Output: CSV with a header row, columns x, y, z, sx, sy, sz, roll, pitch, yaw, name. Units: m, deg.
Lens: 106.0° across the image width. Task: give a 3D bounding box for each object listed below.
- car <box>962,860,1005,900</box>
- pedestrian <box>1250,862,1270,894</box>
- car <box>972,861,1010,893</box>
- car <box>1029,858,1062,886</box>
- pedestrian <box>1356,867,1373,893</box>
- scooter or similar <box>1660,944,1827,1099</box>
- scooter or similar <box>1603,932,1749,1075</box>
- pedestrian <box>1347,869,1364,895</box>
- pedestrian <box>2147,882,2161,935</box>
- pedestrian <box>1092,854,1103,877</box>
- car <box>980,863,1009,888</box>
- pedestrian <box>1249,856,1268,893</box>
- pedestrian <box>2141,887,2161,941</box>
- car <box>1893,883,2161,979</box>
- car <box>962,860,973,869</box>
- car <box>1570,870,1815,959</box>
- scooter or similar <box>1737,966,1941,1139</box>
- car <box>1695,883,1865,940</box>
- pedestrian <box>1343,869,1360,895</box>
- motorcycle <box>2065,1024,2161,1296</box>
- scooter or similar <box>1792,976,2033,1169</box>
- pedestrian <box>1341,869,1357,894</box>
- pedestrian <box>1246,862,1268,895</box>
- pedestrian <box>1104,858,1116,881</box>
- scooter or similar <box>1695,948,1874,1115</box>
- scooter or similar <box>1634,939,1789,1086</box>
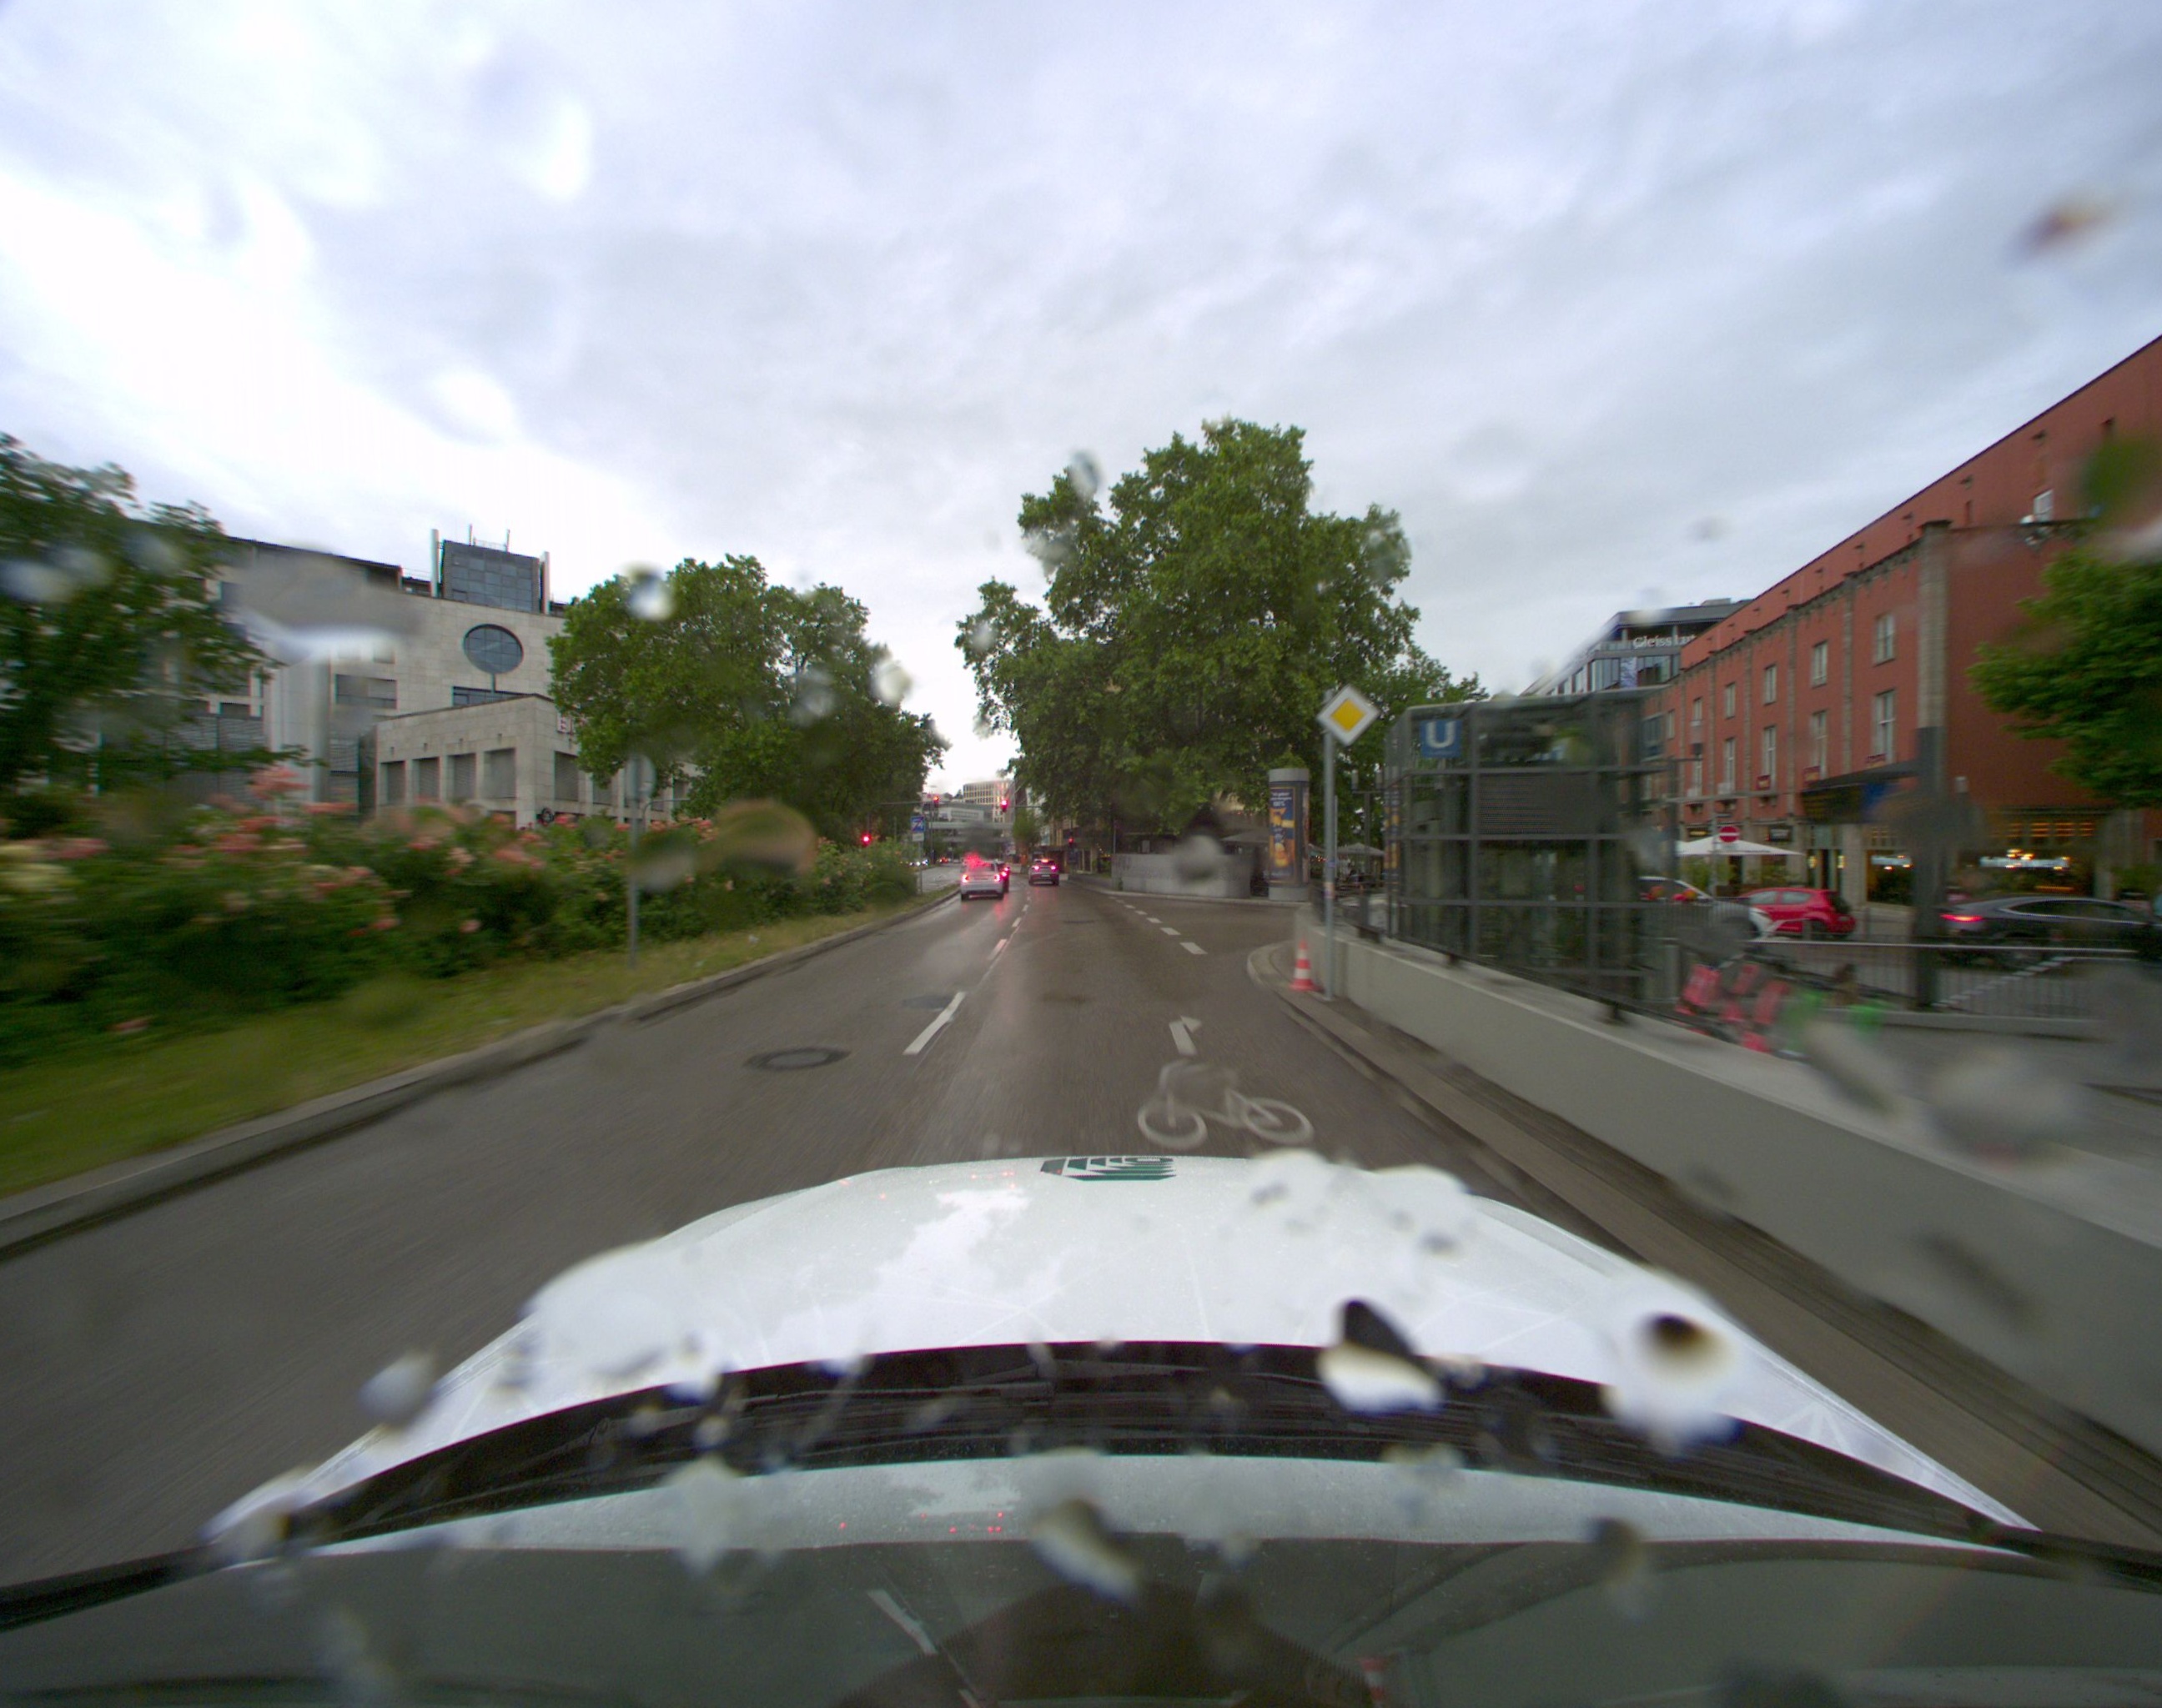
x,y,z,sx,sy,sz,roll,pitch,yaw,name
-3.935,1.009,33.246,1.587,1.491,3.499,-2,0,-5,car
8.024,1.073,36.485,0.682,1.410,0.660,3,-1,-1,pedestrian
-4.374,1.087,40.063,1.688,1.463,4.122,-2,0,-5,car
-2.301,1.147,52.359,1.943,1.666,4.337,1,-1,-5,car
16.103,1.483,46.247,0.608,1.412,0.627,3,-1,-13,pedestrian
5.594,1.406,6.897,1.109,1.216,0.365,1,0,0,scooter or similar
5.633,1.399,7.730,1.109,1.269,0.365,1,0,0,scooter or similar
15.252,1.556,45.201,0.608,1.412,0.627,3,-1,-13,pedestrian
33.074,1.662,24.653,0.747,1.597,0.612,2,-1,10,pedestrian
1.249,0.869,62.048,0.857,1.780,0.717,0,-1,-2,pedestrian
-5.604,1.370,52.486,1.690,1.463,4.333,-2,0,-8,car
8.171,0.952,37.552,0.716,1.702,0.622,-1,-2,26,pedestrian
31.986,1.786,23.960,0.747,1.560,0.612,2,-1,10,pedestrian
20.366,1.547,16.819,4.697,1.691,2.014,1,0,18,car
-20.429,1.928,146.910,1.977,1.463,4.333,-2,0,-8,car
13.840,1.317,18.708,4.068,1.621,1.869,4,-1,13,car
5.624,1.457,6.070,1.109,1.158,0.443,1,0,0,scooter or similar
20.770,1.658,24.352,1.617,1.416,3.499,2,0,-25,car
15.320,1.573,46.119,0.608,1.412,0.627,3,-1,-13,pedestrian
5.803,1.447,3.771,1.771,1.158,0.607,1,0,0,motorcycle
5.647,1.463,5.568,1.109,1.158,0.531,1,0,0,scooter or similar
15.466,1.584,47.046,0.608,1.412,0.627,3,-1,-13,pedestrian
7.568,1.048,35.088,0.682,1.410,0.904,3,-1,-1,pedestrian
2.297,1.221,64.493,0.857,1.780,0.717,0,-1,-2,pedestrian
5.612,1.405,6.518,1.109,1.237,0.365,1,0,0,scooter or similar
5.654,1.410,7.327,1.109,1.234,0.365,1,0,0,scooter or similar
